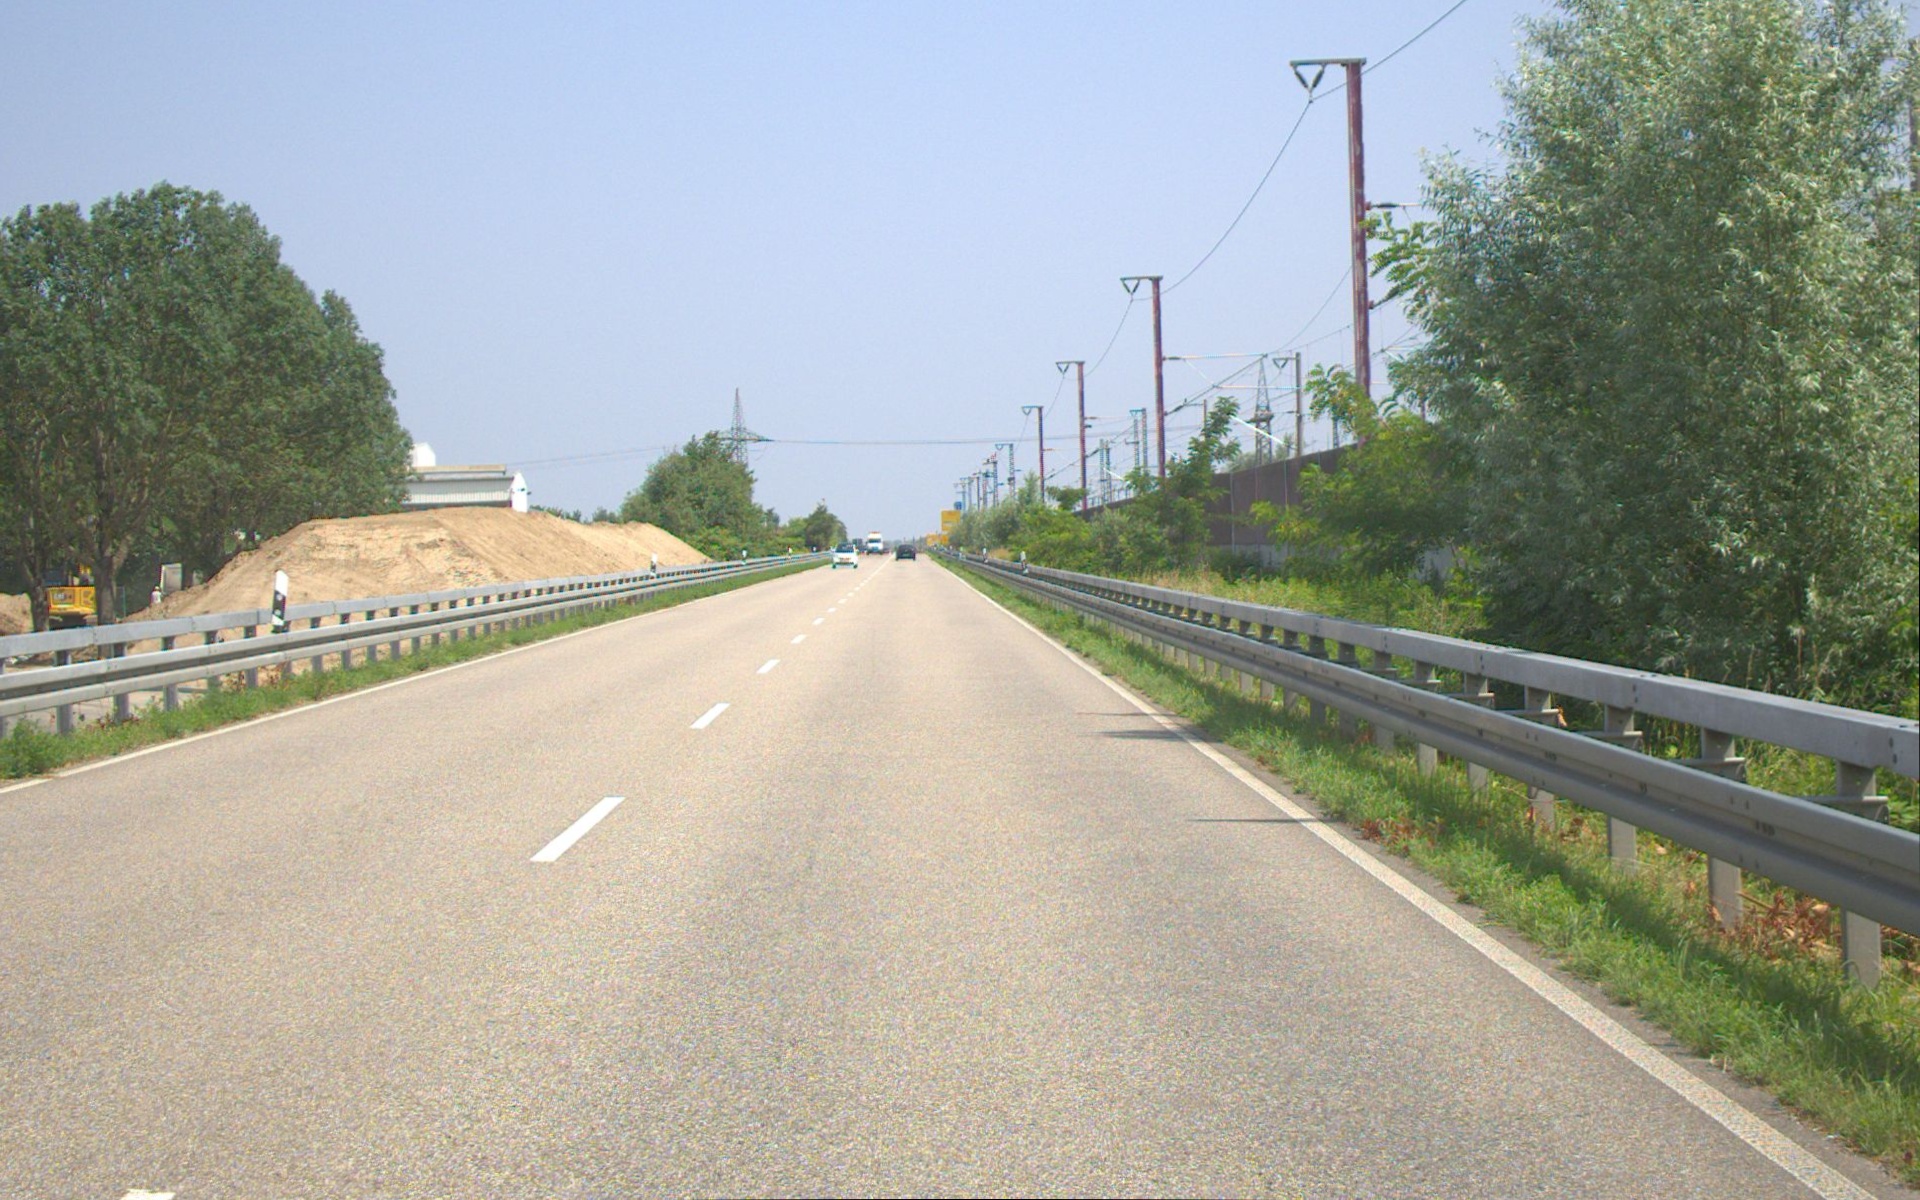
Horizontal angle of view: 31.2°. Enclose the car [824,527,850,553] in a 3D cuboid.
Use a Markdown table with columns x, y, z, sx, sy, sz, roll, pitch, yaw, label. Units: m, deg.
| x | y | z | sx | sy | sz | roll | pitch | yaw | label |
| --- | --- | --- | --- | --- | --- | --- | --- | --- | --- |
| -7.783 | -3.801 | 217.194 | 1.595 | 1.571 | 3.828 | -1 | 1 | -1 | car |
